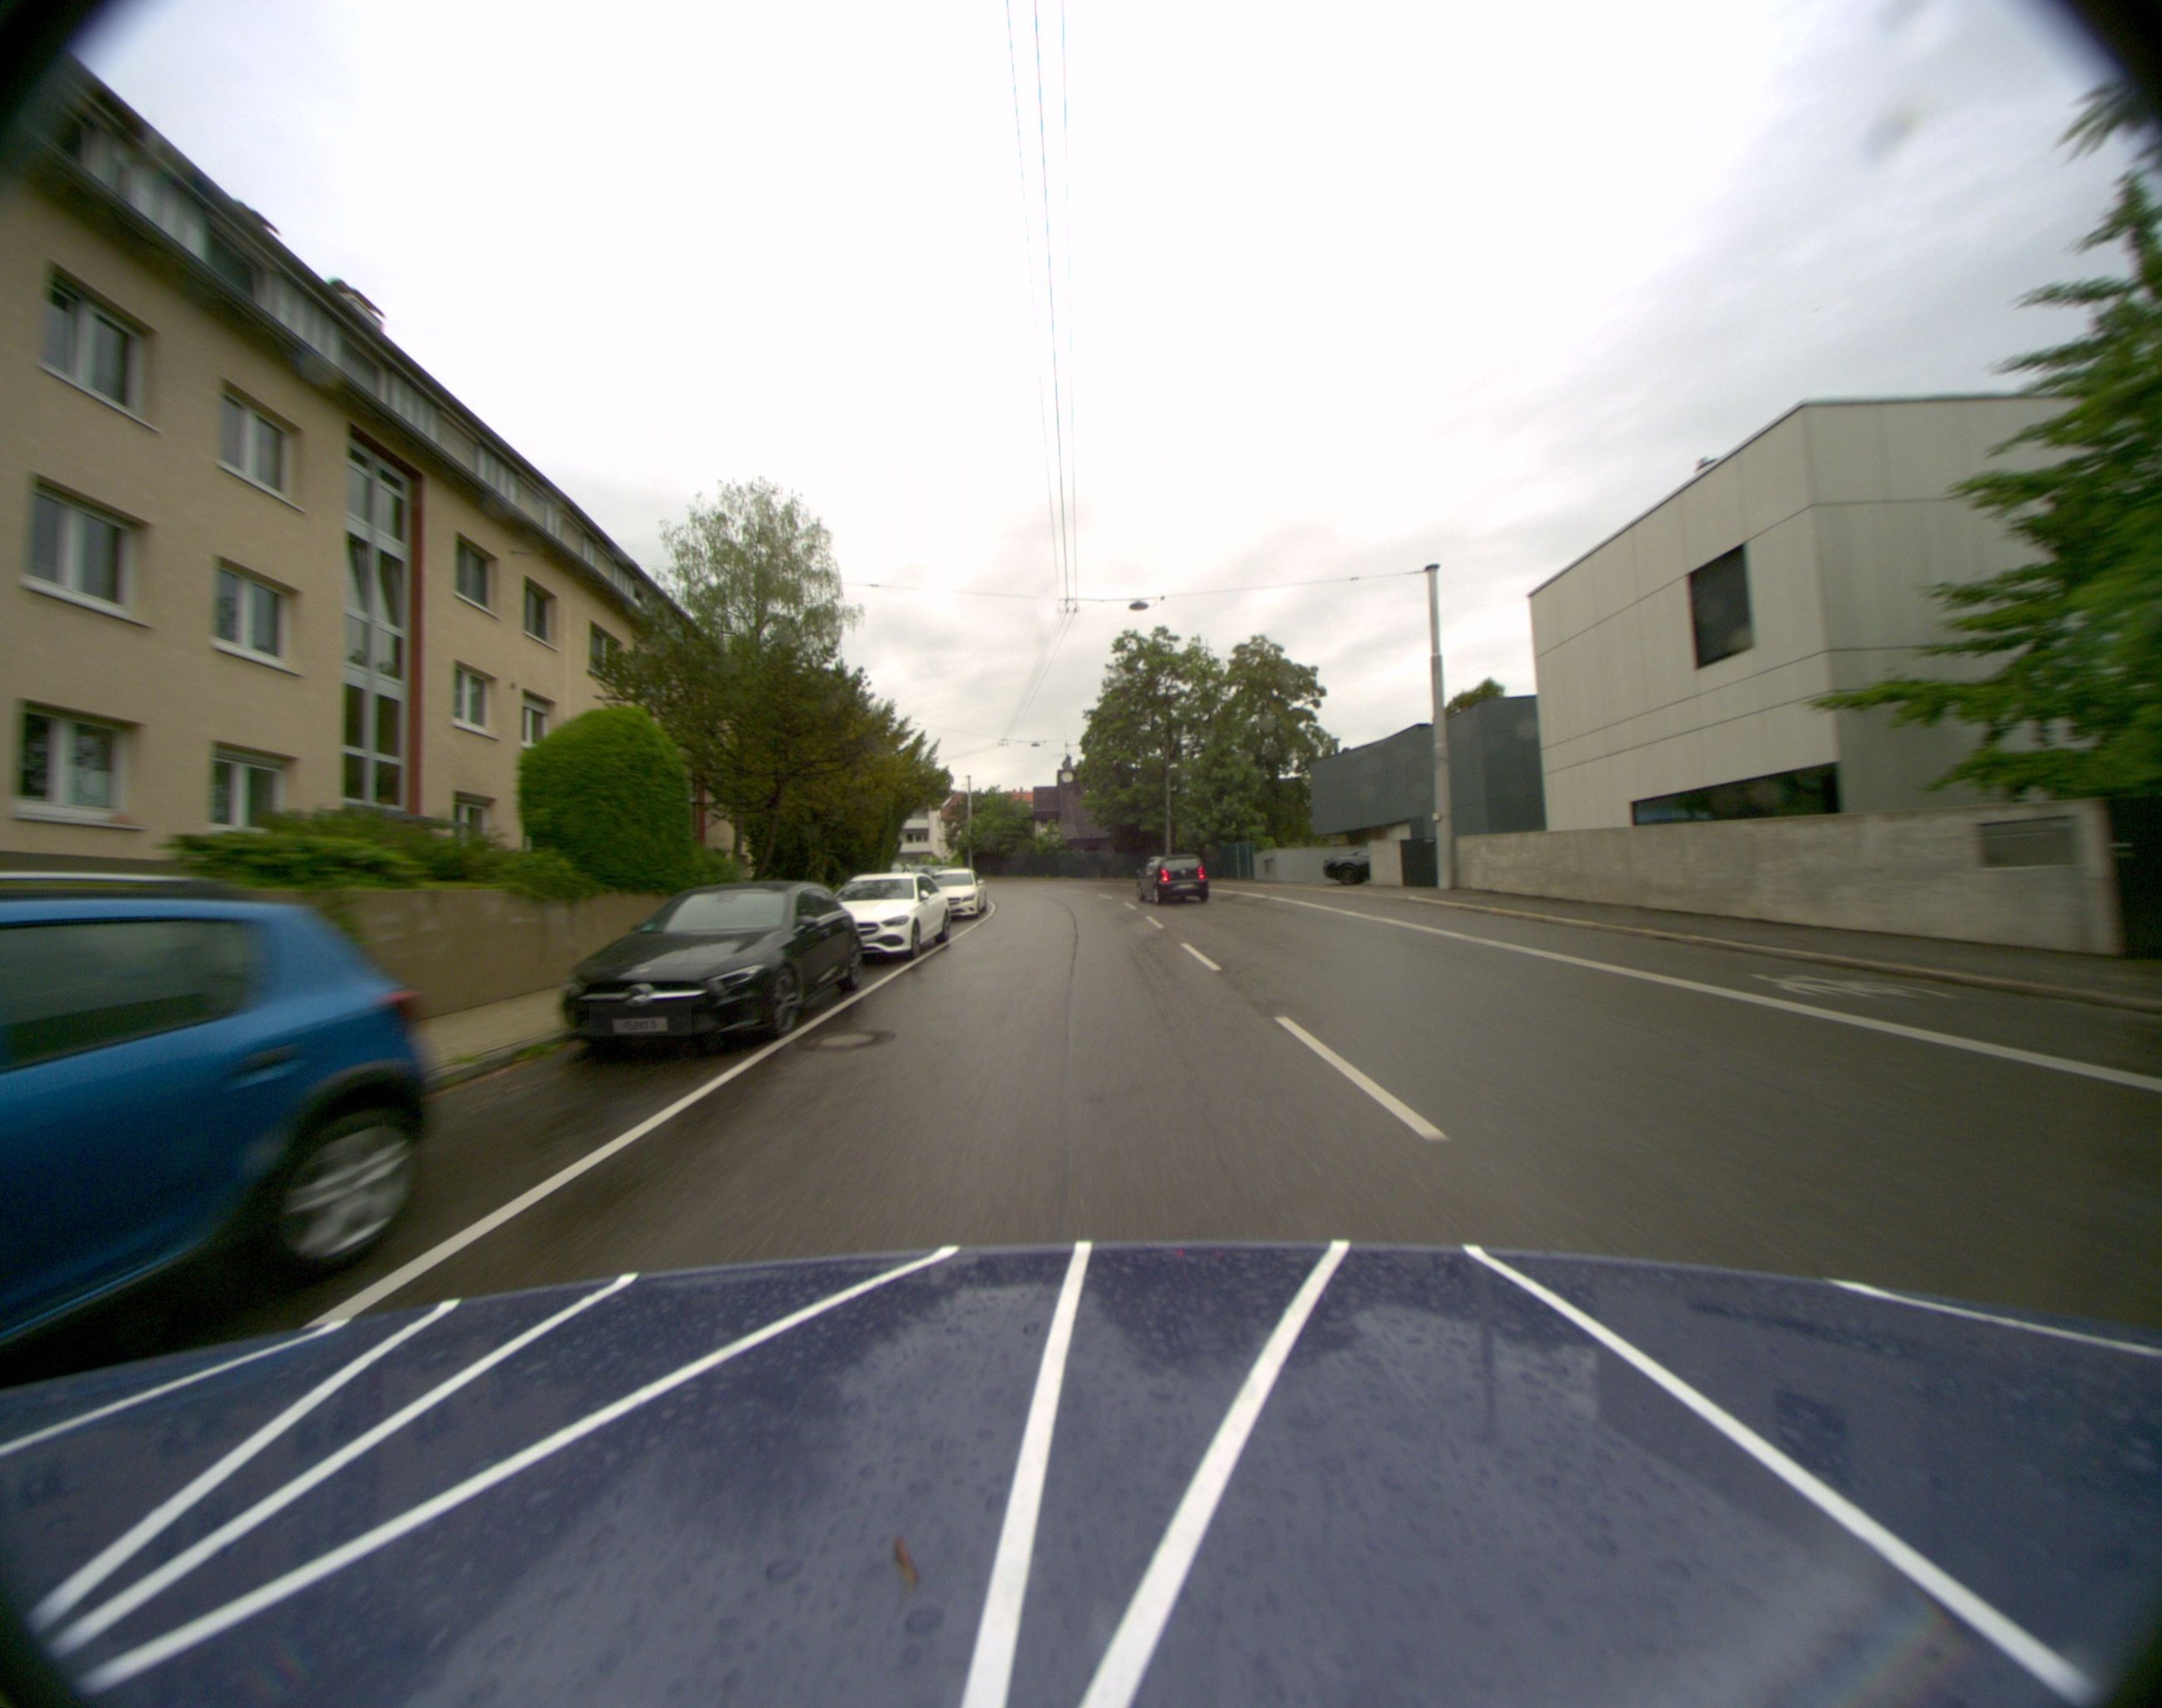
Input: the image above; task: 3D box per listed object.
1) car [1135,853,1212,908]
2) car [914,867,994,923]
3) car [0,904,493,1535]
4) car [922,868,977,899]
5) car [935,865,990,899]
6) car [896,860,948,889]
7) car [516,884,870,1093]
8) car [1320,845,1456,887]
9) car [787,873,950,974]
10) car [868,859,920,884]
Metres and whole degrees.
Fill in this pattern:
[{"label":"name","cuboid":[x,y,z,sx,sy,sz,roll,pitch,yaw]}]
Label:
[{"label":"car","cuboid":[2.867,0.787,24.367,1.654,1.412,3.800,-4,2,-4]},{"label":"car","cuboid":[-3.818,1.182,23.511,1.784,1.427,4.568,-4,0,-2]},{"label":"car","cuboid":[-3.766,1.044,1.600,1.738,1.584,4.254,-2,0,-1]},{"label":"car","cuboid":[-6.577,1.410,37.606,1.815,1.427,4.523,0,-1,-21]},{"label":"car","cuboid":[-5.194,1.175,32.808,1.814,1.340,4.613,0,-1,-16]},{"label":"car","cuboid":[-8.737,1.117,41.583,1.690,1.462,3.731,2,-2,-29]},{"label":"car","cuboid":[-3.615,1.127,8.073,1.694,1.447,4.253,-2,0,-3]},{"label":"car","cuboid":[10.527,0.426,26.091,3.989,1.293,1.901,-2,0,34]},{"label":"car","cuboid":[-3.680,1.145,13.989,1.812,1.447,4.254,-2,0,-1]},{"label":"car","cuboid":[-11.438,1.067,46.237,1.724,1.426,4.059,3,-2,-34]}]
